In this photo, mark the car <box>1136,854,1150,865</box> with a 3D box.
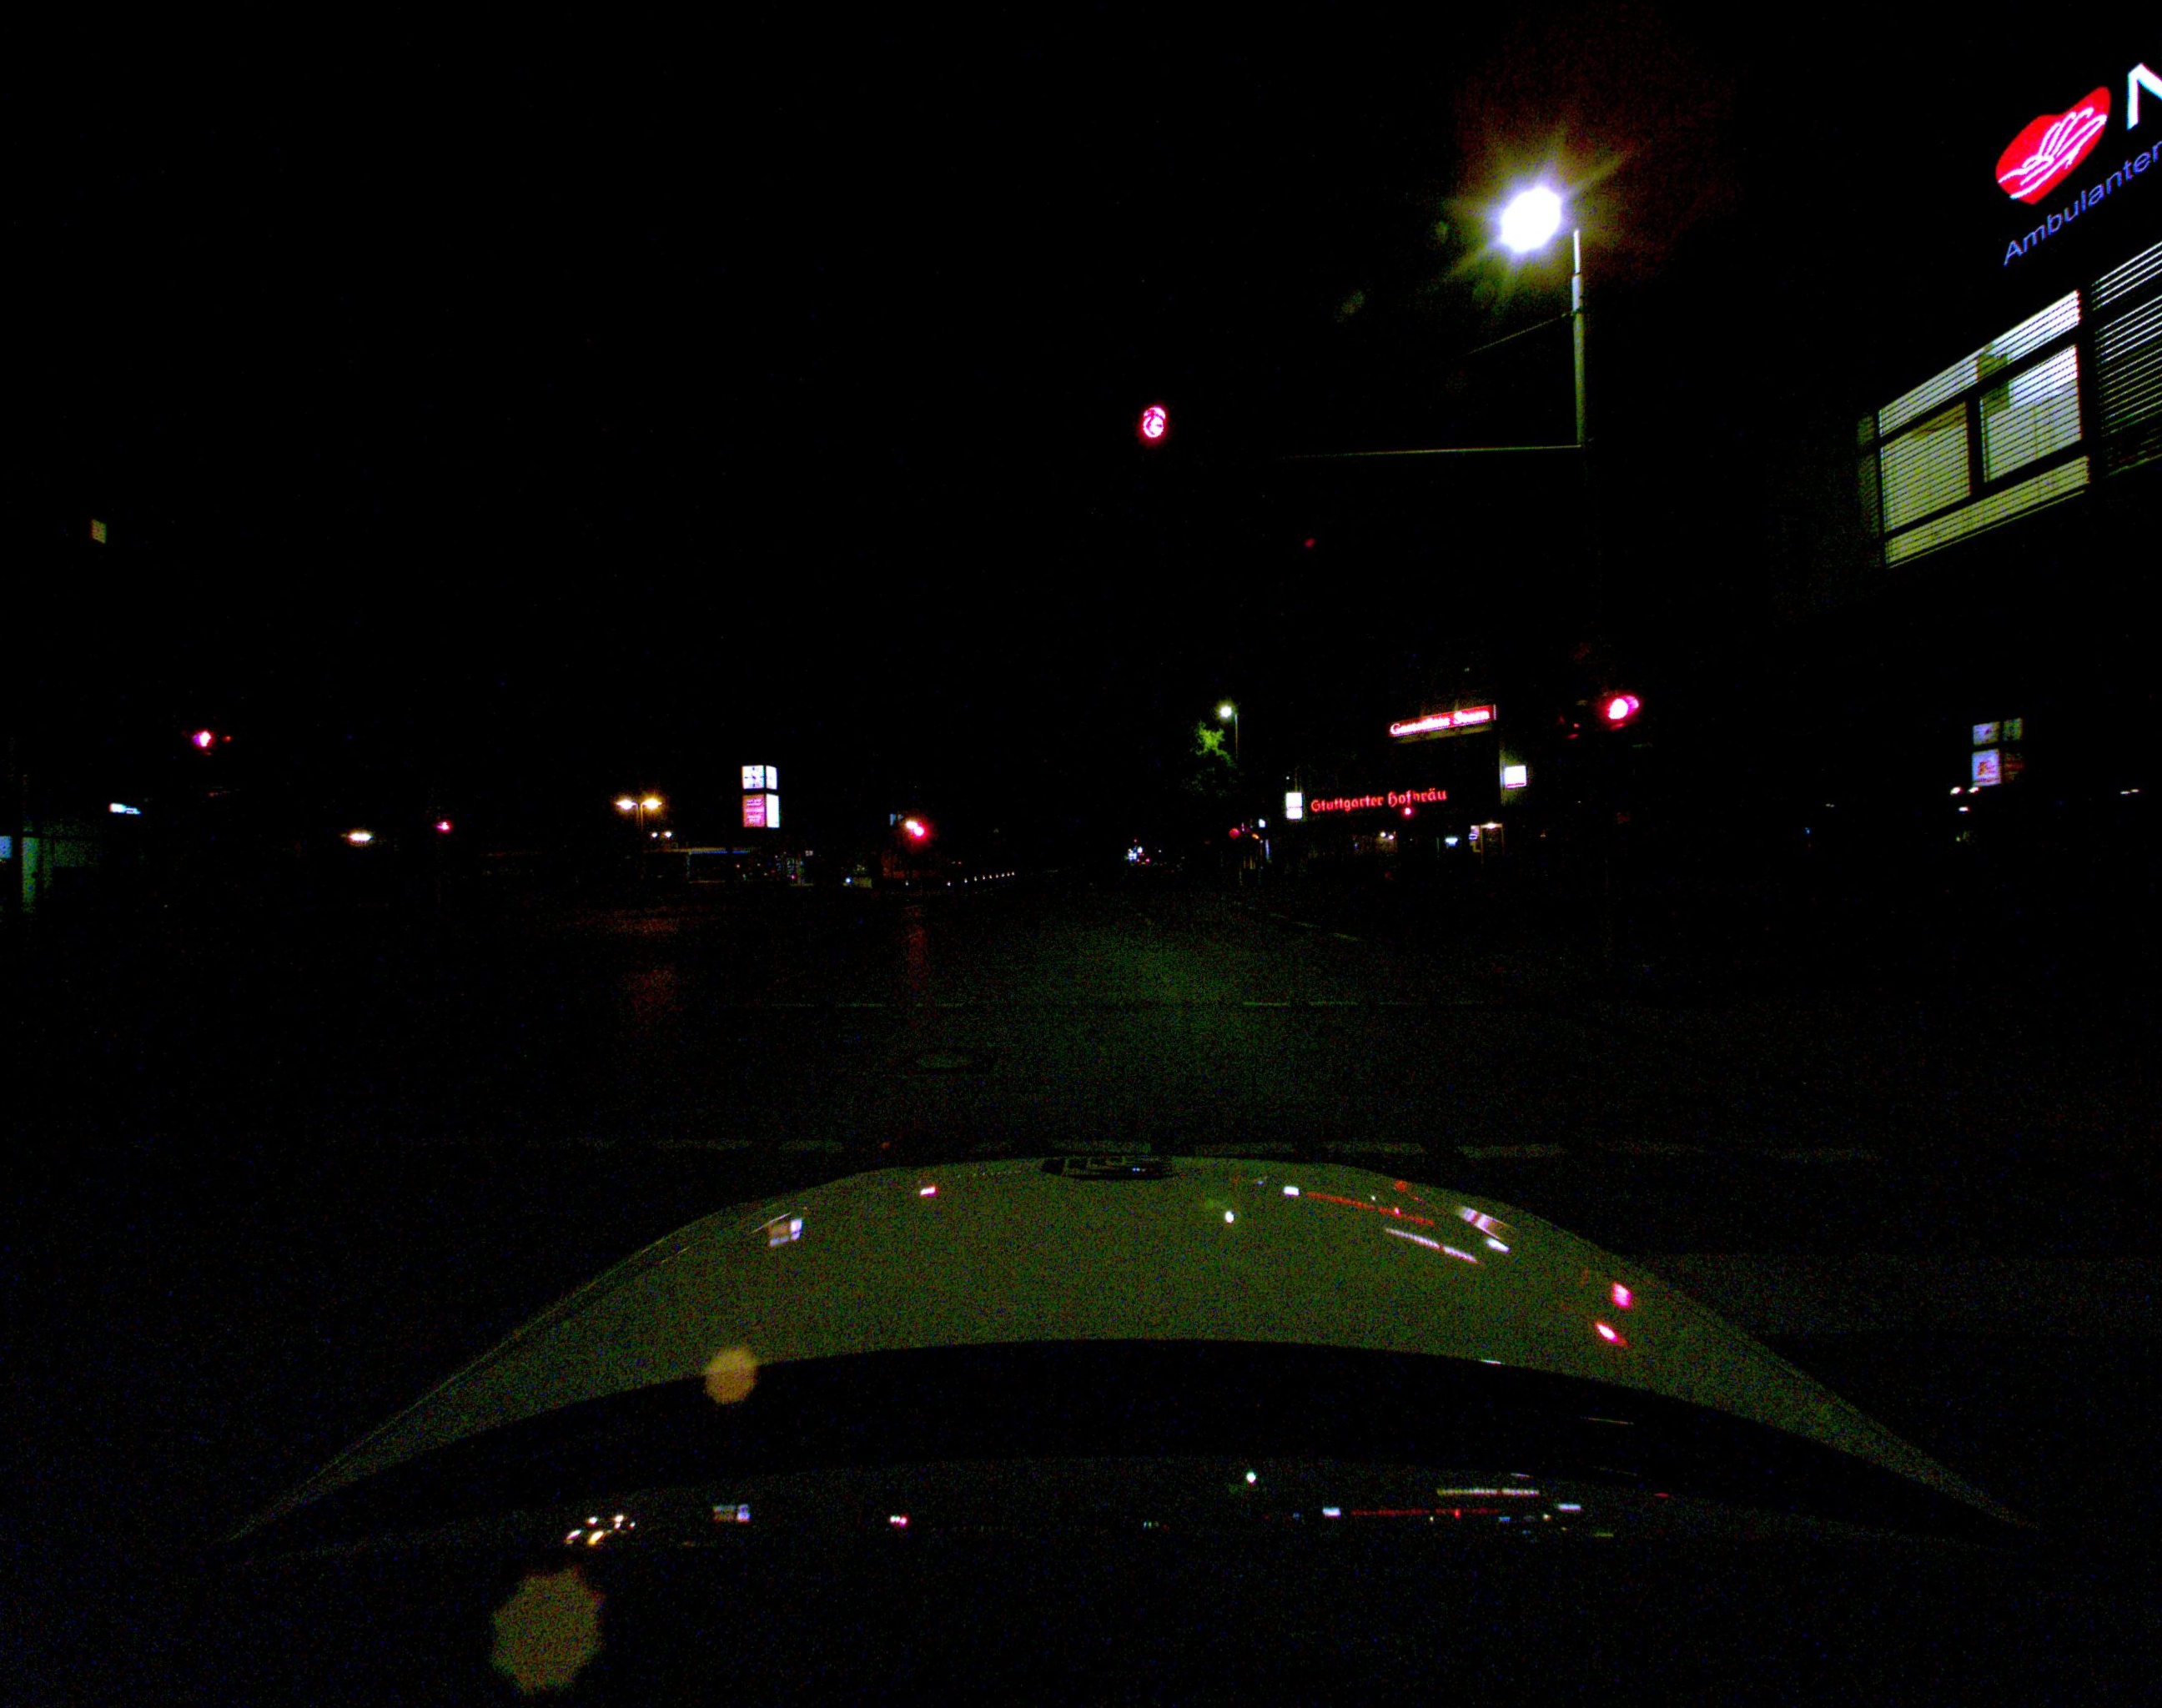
[{"bbox_3d":[8.756,0.819,115.665,1.866,1.454,4.320,0,-1,3],"label":"car"}]

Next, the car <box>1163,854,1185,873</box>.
[{"bbox_3d":[8.679,0.882,76.440,1.868,1.729,4.005,-2,-1,5],"label":"car"}]

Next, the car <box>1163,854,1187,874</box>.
[{"bbox_3d":[7.884,0.835,68.783,1.868,1.615,4.005,-2,-1,5],"label":"car"}]

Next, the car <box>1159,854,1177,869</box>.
[{"bbox_3d":[10.052,0.884,94.440,1.868,1.683,4.005,-2,-1,5],"label":"car"}]

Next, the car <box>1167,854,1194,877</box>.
[{"bbox_3d":[7.720,0.881,63.614,1.868,1.615,4.005,-2,-1,5],"label":"car"}]
